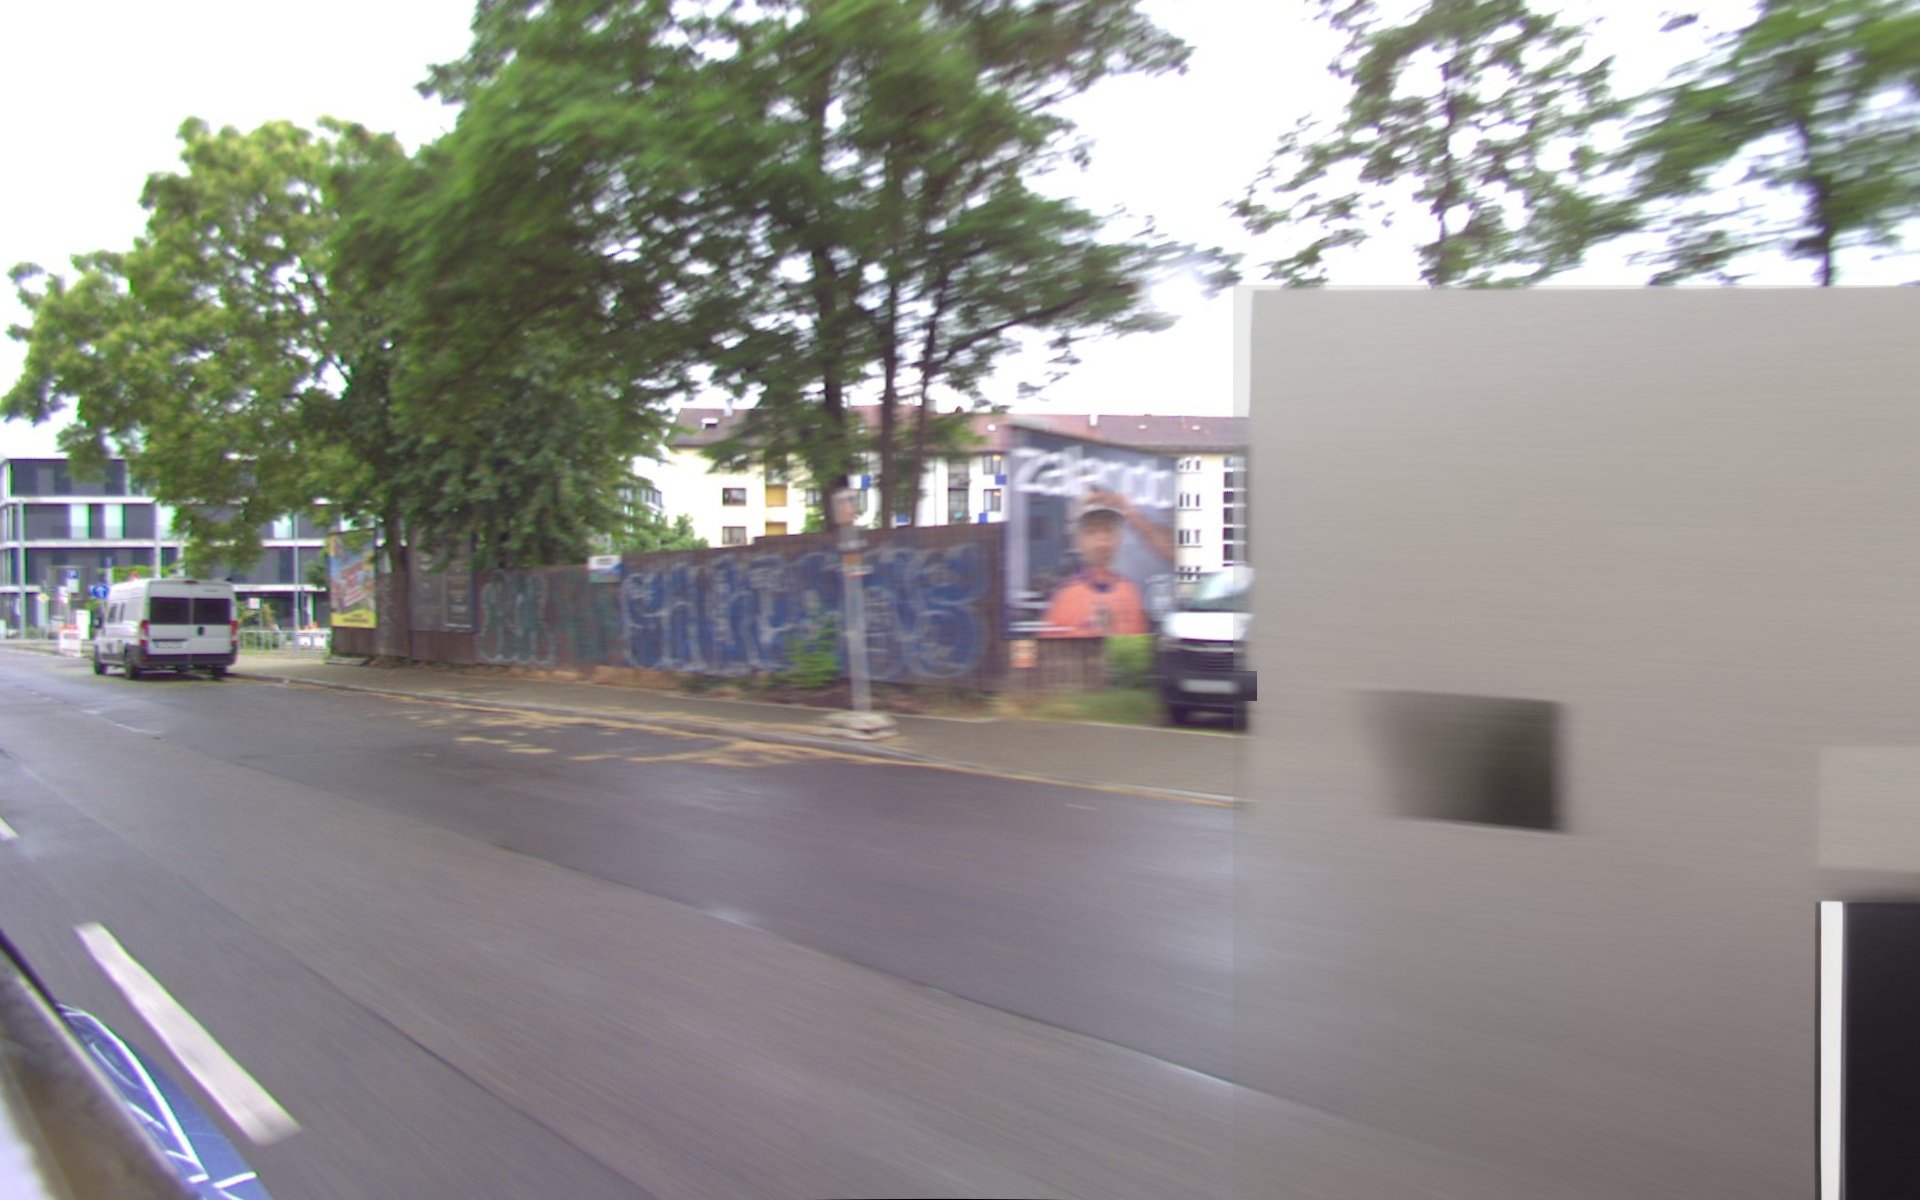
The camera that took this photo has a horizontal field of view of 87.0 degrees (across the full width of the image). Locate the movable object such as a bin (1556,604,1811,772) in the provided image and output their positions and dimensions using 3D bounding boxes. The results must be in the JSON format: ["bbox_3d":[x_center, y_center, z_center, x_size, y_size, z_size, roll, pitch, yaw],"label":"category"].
[{"bbox_3d":[7.098,0.793,10.211,1.667,1.435,2.677,-1,-2,27],"label":"movable object such as a bin"}]

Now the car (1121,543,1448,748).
[{"bbox_3d":[4.343,0.522,12.824,2.144,2.025,5.445,-2,-2,39],"label":"car"}]

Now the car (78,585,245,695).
[{"bbox_3d":[-21.358,1.049,26.931,6.532,2.598,2.207,-2,-3,40],"label":"car"}]

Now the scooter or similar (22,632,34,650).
[{"bbox_3d":[-64.988,2.842,70.583,1.231,1.258,0.491,-1,0,42],"label":"scooter or similar"}]
